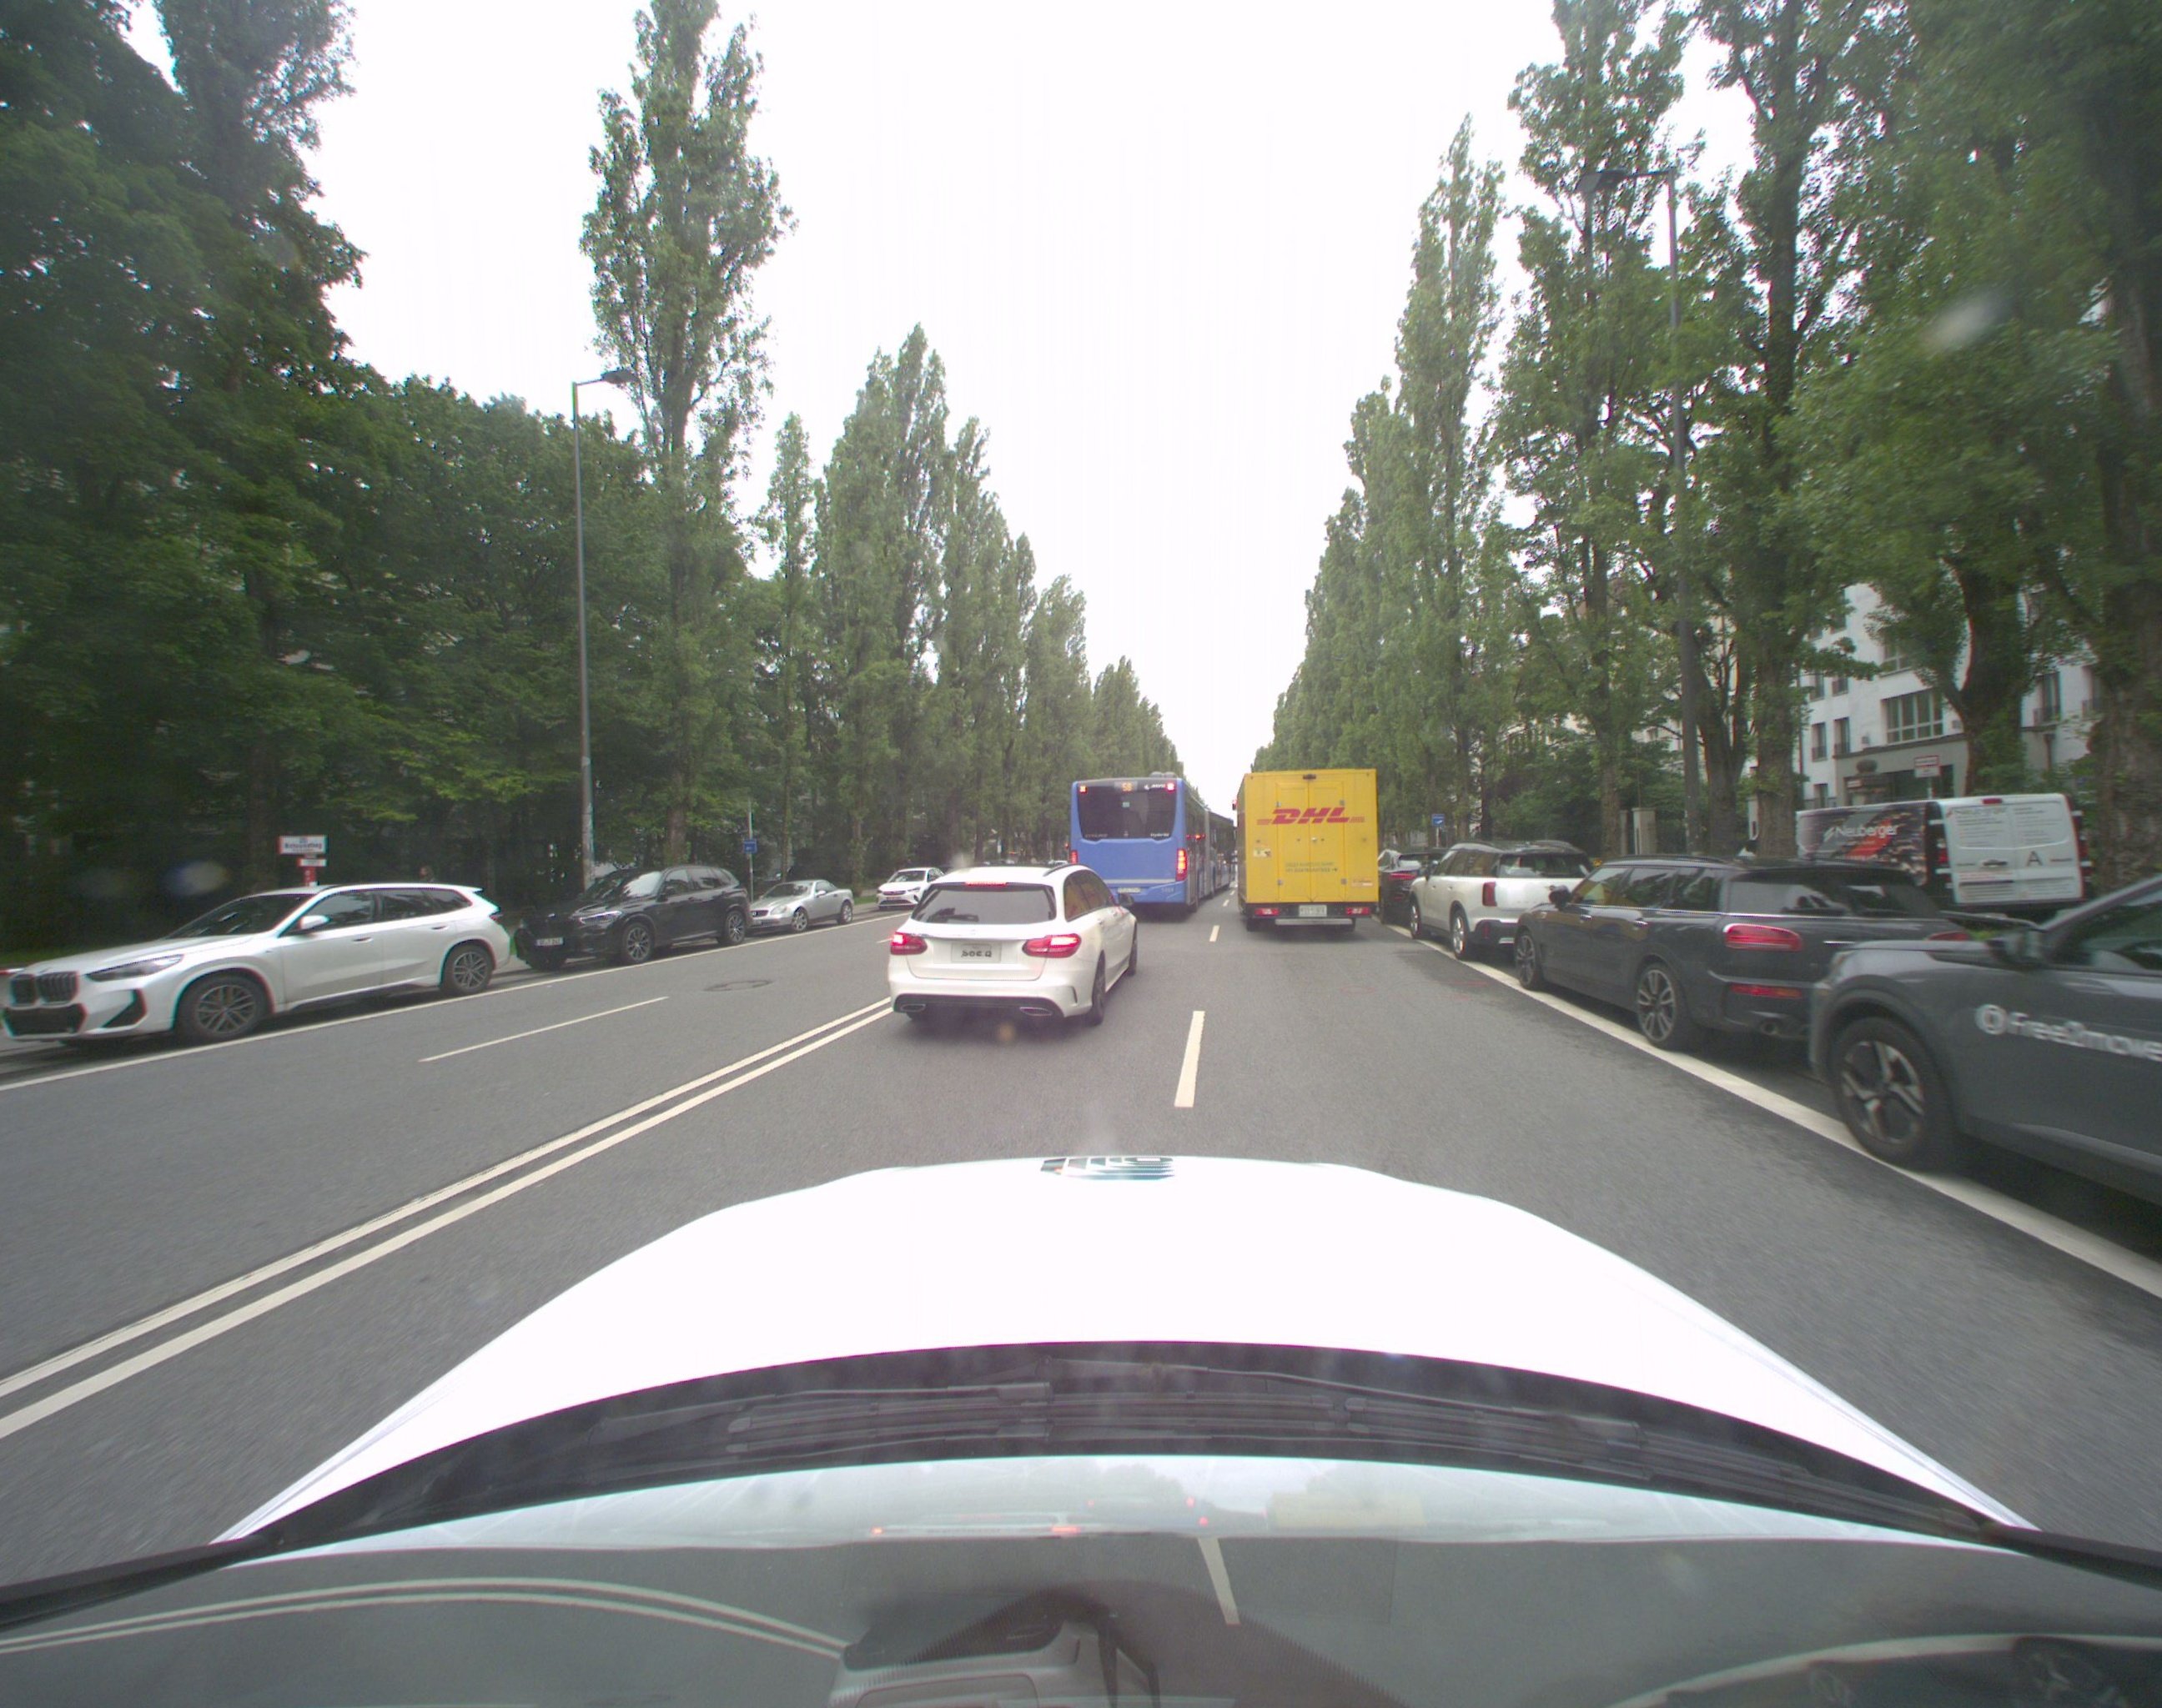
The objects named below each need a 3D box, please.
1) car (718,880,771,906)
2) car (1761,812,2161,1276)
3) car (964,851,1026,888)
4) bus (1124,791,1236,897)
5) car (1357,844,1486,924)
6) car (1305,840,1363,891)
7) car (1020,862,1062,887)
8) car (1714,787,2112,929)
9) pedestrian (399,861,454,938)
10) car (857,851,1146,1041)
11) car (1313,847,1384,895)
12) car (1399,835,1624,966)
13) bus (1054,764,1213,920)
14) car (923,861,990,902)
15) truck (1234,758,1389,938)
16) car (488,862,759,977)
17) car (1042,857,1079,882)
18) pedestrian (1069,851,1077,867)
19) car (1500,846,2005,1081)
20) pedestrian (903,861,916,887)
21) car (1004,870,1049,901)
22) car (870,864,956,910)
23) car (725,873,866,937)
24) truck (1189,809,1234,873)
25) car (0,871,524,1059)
[{"bbox_3d":[-25.115,2.903,60.936,1.985,1.684,4.270,-2,0,3],"label":"car"},{"bbox_3d":[4.285,0.606,2.416,1.641,1.503,4.125,-1,0,10],"label":"car"},{"bbox_3d":[-4.112,0.702,39.654,1.780,1.548,4.350,-5,-1,9],"label":"car"},{"bbox_3d":[4.035,-0.318,30.781,2.851,3.304,9.827,-2,0,14],"label":"bus"},{"bbox_3d":[7.167,0.567,17.595,1.714,1.495,4.337,-2,0,11],"label":"car"},{"bbox_3d":[10.474,0.436,33.952,1.794,1.976,4.249,-1,0,11],"label":"car"},{"bbox_3d":[-2.417,1.237,50.039,1.665,1.413,4.011,-2,0,9],"label":"car"},{"bbox_3d":[13.537,0.063,13.917,1.981,1.925,5.338,-1,0,10],"label":"car"},{"bbox_3d":[-15.994,1.104,19.916,0.636,1.815,0.778,-2,0,10],"label":"pedestrian"},{"bbox_3d":[-0.472,0.719,8.667,1.814,1.454,4.596,-1,0,11],"label":"car"},{"bbox_3d":[9.295,0.552,28.544,1.851,1.552,4.012,-2,0,11],"label":"car"},{"bbox_3d":[6.080,0.556,12.083,1.770,1.581,4.158,0,0,10],"label":"car"},{"bbox_3d":[1.802,-0.260,21.627,2.836,3.213,9.090,-1,0,12],"label":"bus"},{"bbox_3d":[-5.154,1.096,34.223,1.735,1.519,4.124,-4,-1,5],"label":"car"},{"bbox_3d":[4.455,-0.085,17.029,2.313,2.898,7.353,-2,0,10],"label":"truck"},{"bbox_3d":[-8.374,1.096,15.558,1.869,1.658,4.730,-4,0,9],"label":"car"},{"bbox_3d":[-1.322,1.011,54.444,1.698,1.548,4.011,-2,0,9],"label":"car"},{"bbox_3d":[-1.008,0.606,100.059,0.825,2.013,0.779,-2,0,8],"label":"pedestrian"},{"bbox_3d":[5.278,0.672,7.218,1.623,1.446,4.160,0,0,10],"label":"car"},{"bbox_3d":[-11.431,1.328,54.202,0.596,1.739,0.642,-2,0,10],"label":"pedestrian"},{"bbox_3d":[-3.027,1.737,45.718,1.530,1.433,3.879,-5,-1,9],"label":"car"},{"bbox_3d":[-6.060,1.155,29.815,1.675,1.413,4.015,-4,-1,9],"label":"car"},{"bbox_3d":[-7.305,1.263,21.270,1.570,1.304,4.041,-4,0,11],"label":"car"},{"bbox_3d":[8.986,-0.821,56.419,2.700,3.965,9.240,-2,0,8],"label":"truck"},{"bbox_3d":[-9.539,1.123,9.925,1.774,1.588,4.475,-4,0,11],"label":"car"}]
